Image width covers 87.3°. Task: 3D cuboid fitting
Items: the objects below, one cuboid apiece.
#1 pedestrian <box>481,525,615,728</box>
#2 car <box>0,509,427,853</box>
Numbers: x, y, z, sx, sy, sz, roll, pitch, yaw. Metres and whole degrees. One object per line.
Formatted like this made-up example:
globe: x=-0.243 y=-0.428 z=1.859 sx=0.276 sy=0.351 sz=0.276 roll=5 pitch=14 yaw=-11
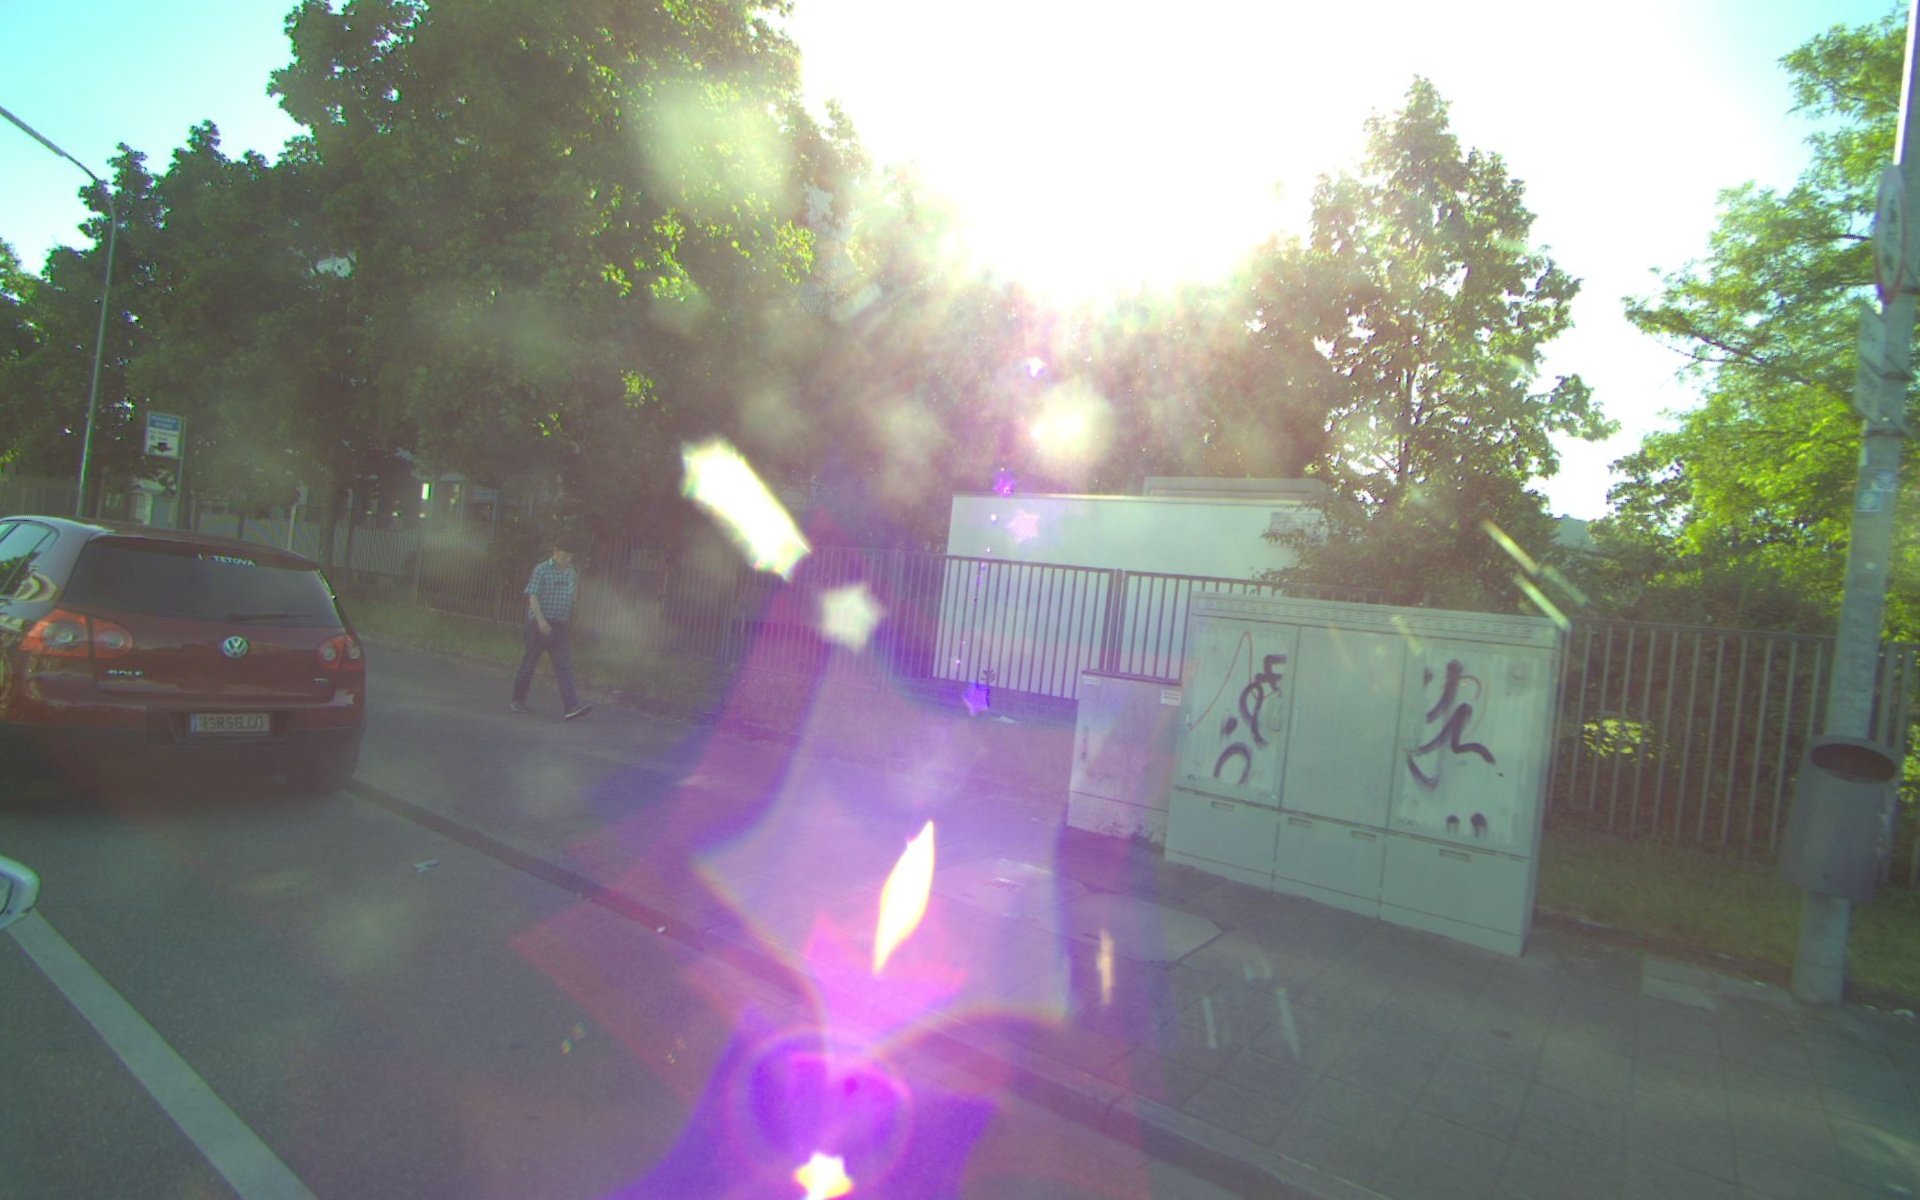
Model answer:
pedestrian: x=-3.891 y=0.235 z=9.501 sx=0.871 sy=1.781 sz=0.717 roll=7 pitch=3 yaw=36
car: x=-5.458 y=0.248 z=6.338 sx=4.579 sy=1.471 sz=1.721 roll=6 pitch=-2 yaw=35
